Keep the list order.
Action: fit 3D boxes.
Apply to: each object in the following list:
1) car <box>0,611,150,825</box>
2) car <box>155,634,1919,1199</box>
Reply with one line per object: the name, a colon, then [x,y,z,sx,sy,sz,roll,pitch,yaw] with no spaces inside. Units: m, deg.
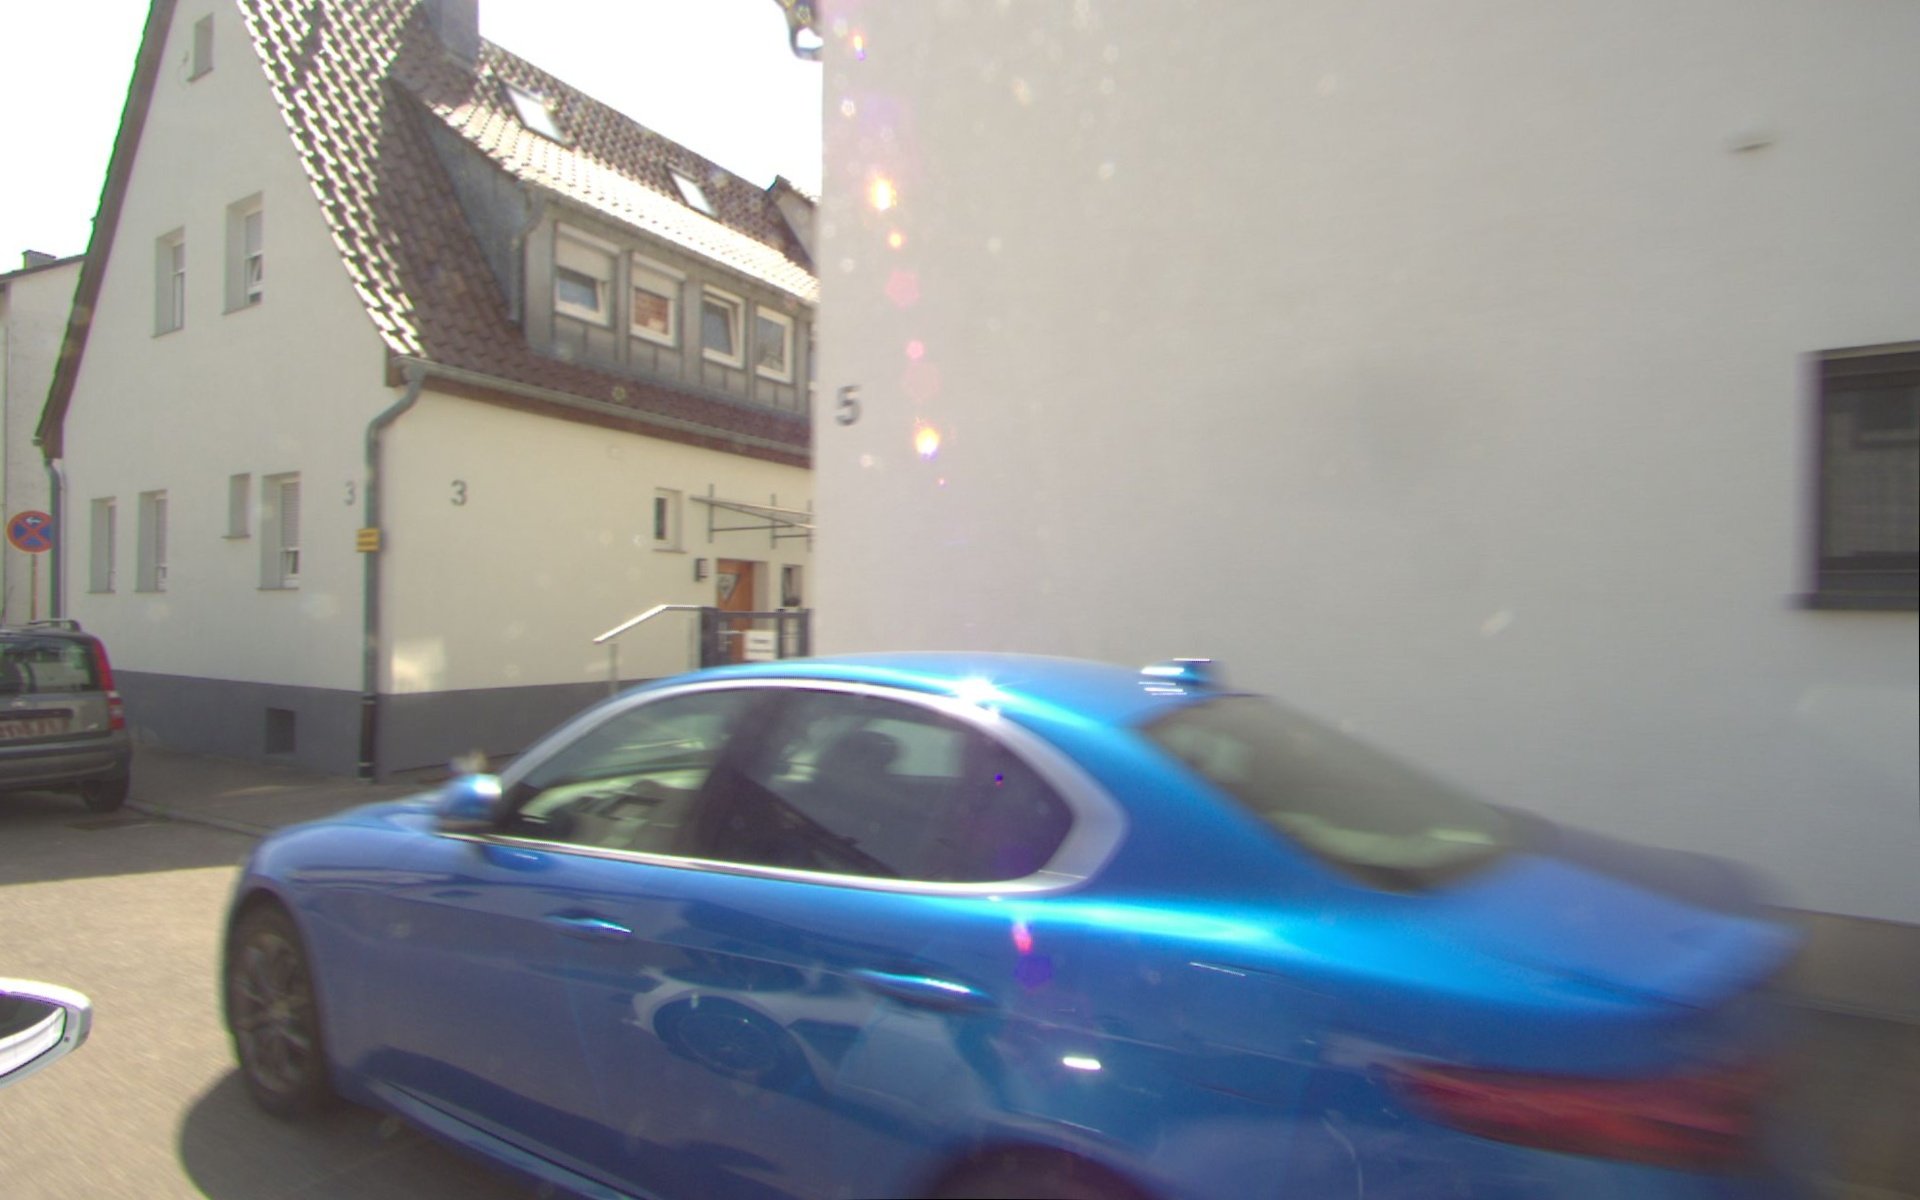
car: [-8.444,0.882,8.280,3.397,1.564,1.566,0,-2,30]
car: [-0.374,0.846,2.914,4.527,1.442,1.760,-1,-2,33]
